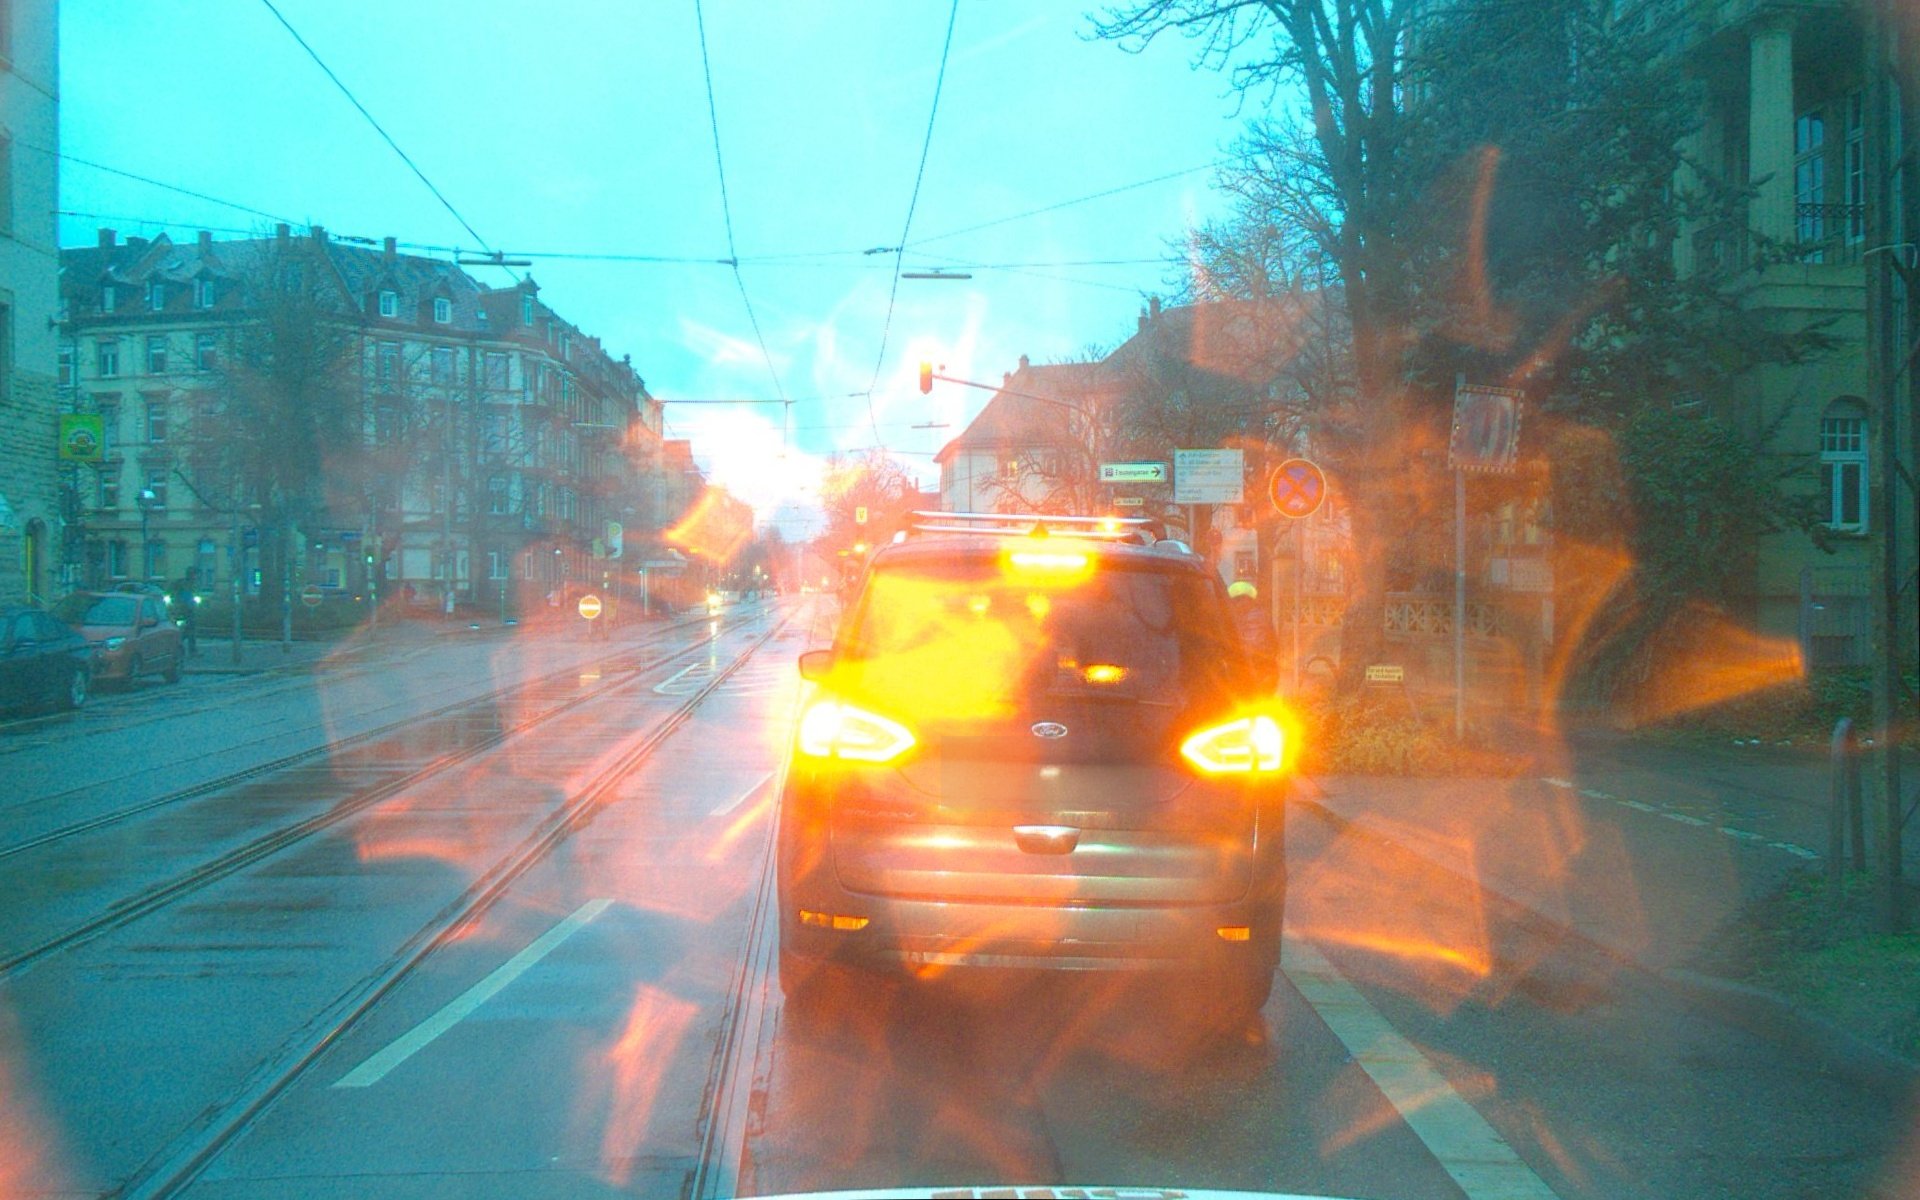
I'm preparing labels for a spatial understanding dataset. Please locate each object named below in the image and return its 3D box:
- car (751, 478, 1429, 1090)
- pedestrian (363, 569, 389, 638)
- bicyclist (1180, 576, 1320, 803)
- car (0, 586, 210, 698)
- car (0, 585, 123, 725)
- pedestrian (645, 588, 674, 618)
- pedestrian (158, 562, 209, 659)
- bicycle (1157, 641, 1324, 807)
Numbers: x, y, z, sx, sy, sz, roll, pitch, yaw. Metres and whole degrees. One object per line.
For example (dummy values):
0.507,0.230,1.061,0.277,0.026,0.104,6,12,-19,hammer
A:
0.322,0.561,7.455,2.061,1.848,4.658,2,0,-2,car
-17.574,0.106,49.773,0.695,2.049,0.656,0,0,-24,pedestrian
2.281,0.679,13.113,0.703,1.691,1.054,4,0,-9,bicyclist
-14.242,0.643,27.696,2.000,1.578,4.023,4,0,-9,car
-13.124,0.664,21.999,1.949,1.674,4.624,5,-1,-7,car
-12.333,0.134,67.915,1.027,1.221,0.884,1,0,-4,pedestrian
-16.514,0.217,35.177,0.742,2.049,0.646,0,-1,32,pedestrian
2.225,0.957,13.380,0.703,1.131,1.938,4,0,-9,bicycle
